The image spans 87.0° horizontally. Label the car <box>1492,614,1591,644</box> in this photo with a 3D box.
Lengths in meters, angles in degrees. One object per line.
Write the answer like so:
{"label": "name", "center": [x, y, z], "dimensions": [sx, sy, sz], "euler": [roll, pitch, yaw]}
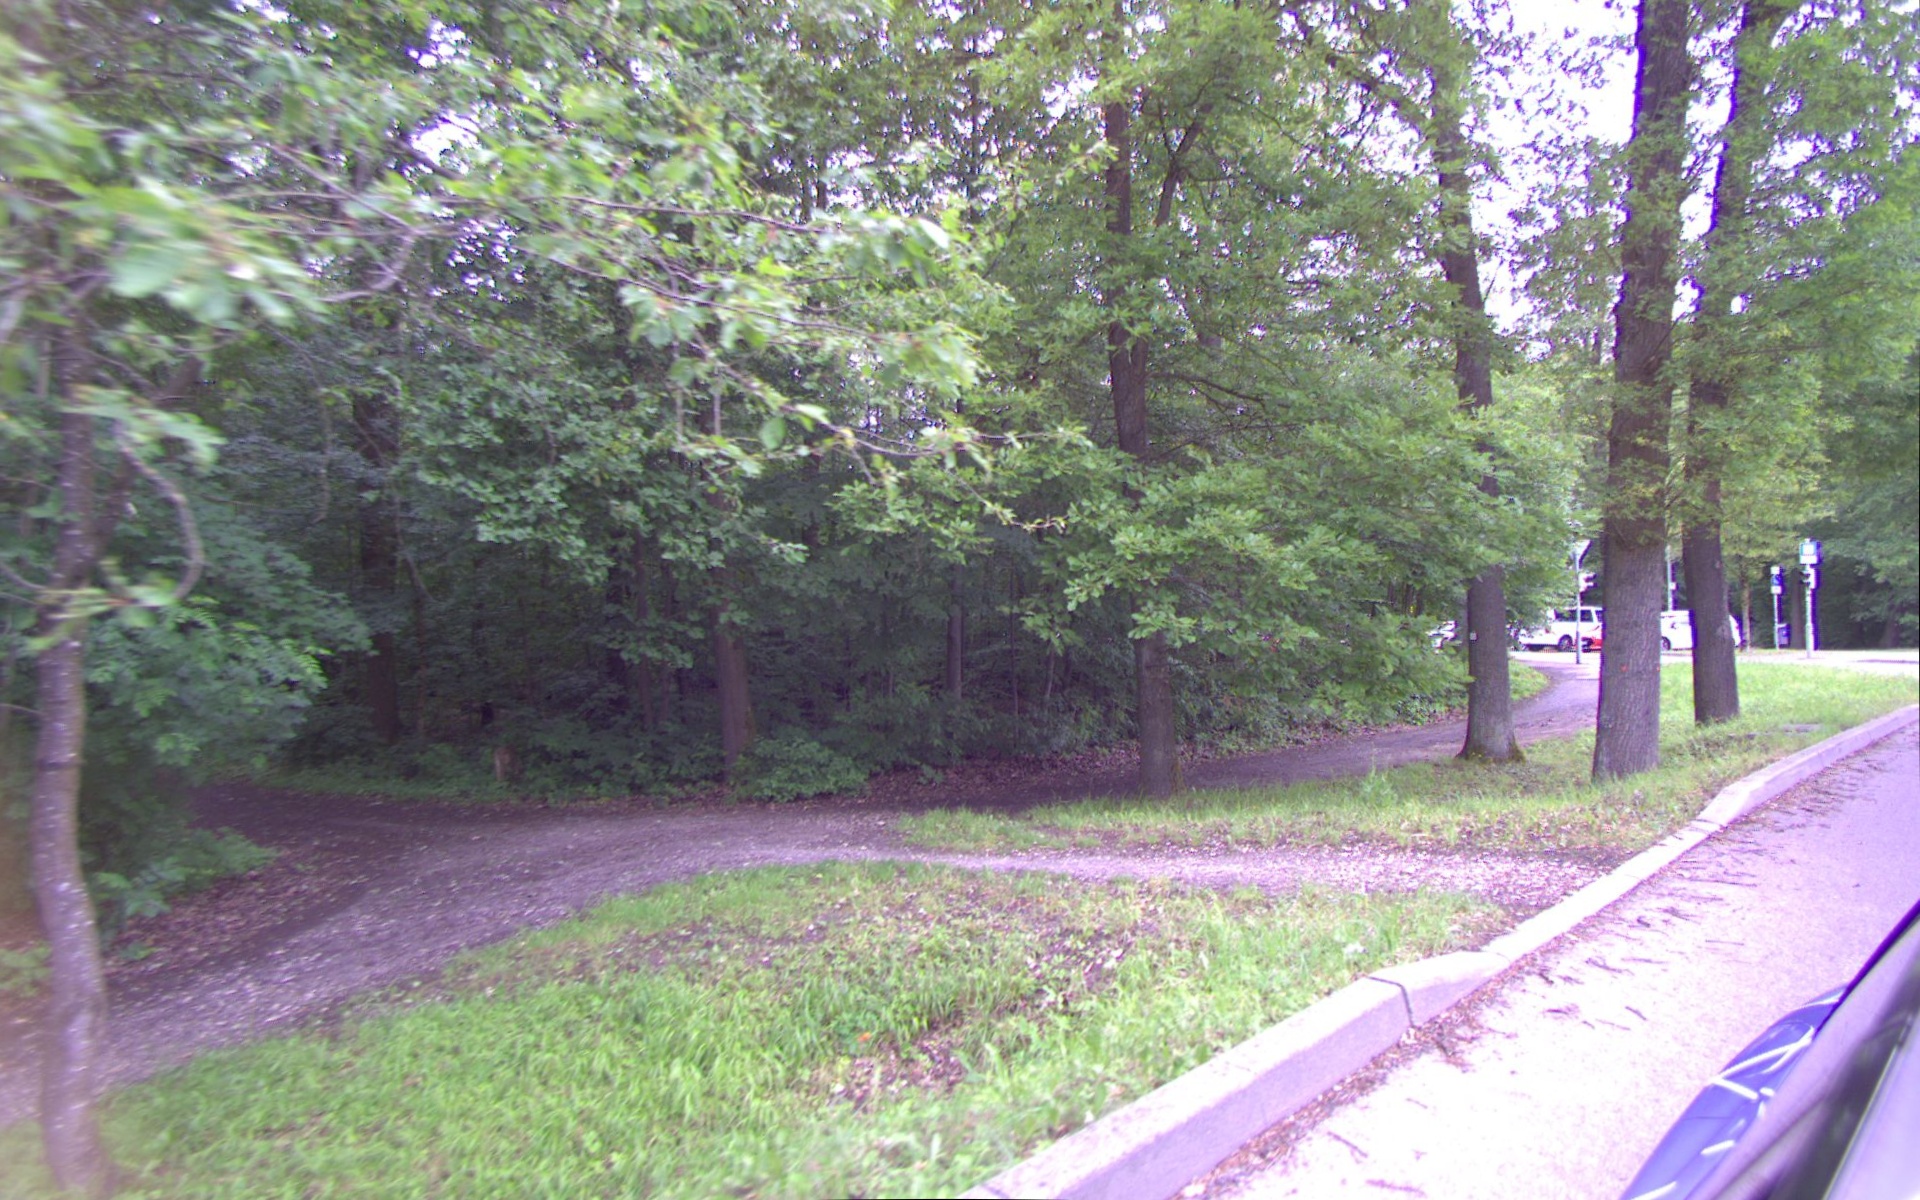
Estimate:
{"label": "car", "center": [27.412, 1.382, 47.765], "dimensions": [3.853, 1.345, 1.724], "euler": [0, -2, -13]}

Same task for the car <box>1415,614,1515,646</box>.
{"label": "car", "center": [26.039, 1.548, 52.183], "dimensions": [4.437, 1.578, 1.846], "euler": [0, -2, -14]}

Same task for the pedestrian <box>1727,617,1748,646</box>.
{"label": "pedestrian", "center": [45.339, 1.848, 59.015], "dimensions": [1.019, 1.672, 0.831], "euler": [2, -4, -45]}

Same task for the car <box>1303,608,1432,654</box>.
{"label": "car", "center": [17.660, 1.335, 43.968], "dimensions": [4.846, 1.903, 2.003], "euler": [0, -2, -12]}

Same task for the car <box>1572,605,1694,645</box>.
{"label": "car", "center": [28.180, 1.062, 42.439], "dimensions": [3.919, 1.572, 1.896], "euler": [0, -2, -7]}

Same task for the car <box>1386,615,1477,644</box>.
{"label": "car", "center": [25.546, 1.594, 54.906], "dimensions": [4.113, 1.515, 1.822], "euler": [0, -2, -11]}

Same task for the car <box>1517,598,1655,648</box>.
{"label": "car", "center": [27.835, 1.025, 45.042], "dimensions": [5.076, 1.983, 2.066], "euler": [-2, -2, -11]}

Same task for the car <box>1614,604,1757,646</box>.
{"label": "car", "center": [28.550, 1.005, 39.899], "dimensions": [4.331, 1.572, 2.002], "euler": [0, -2, -7]}
